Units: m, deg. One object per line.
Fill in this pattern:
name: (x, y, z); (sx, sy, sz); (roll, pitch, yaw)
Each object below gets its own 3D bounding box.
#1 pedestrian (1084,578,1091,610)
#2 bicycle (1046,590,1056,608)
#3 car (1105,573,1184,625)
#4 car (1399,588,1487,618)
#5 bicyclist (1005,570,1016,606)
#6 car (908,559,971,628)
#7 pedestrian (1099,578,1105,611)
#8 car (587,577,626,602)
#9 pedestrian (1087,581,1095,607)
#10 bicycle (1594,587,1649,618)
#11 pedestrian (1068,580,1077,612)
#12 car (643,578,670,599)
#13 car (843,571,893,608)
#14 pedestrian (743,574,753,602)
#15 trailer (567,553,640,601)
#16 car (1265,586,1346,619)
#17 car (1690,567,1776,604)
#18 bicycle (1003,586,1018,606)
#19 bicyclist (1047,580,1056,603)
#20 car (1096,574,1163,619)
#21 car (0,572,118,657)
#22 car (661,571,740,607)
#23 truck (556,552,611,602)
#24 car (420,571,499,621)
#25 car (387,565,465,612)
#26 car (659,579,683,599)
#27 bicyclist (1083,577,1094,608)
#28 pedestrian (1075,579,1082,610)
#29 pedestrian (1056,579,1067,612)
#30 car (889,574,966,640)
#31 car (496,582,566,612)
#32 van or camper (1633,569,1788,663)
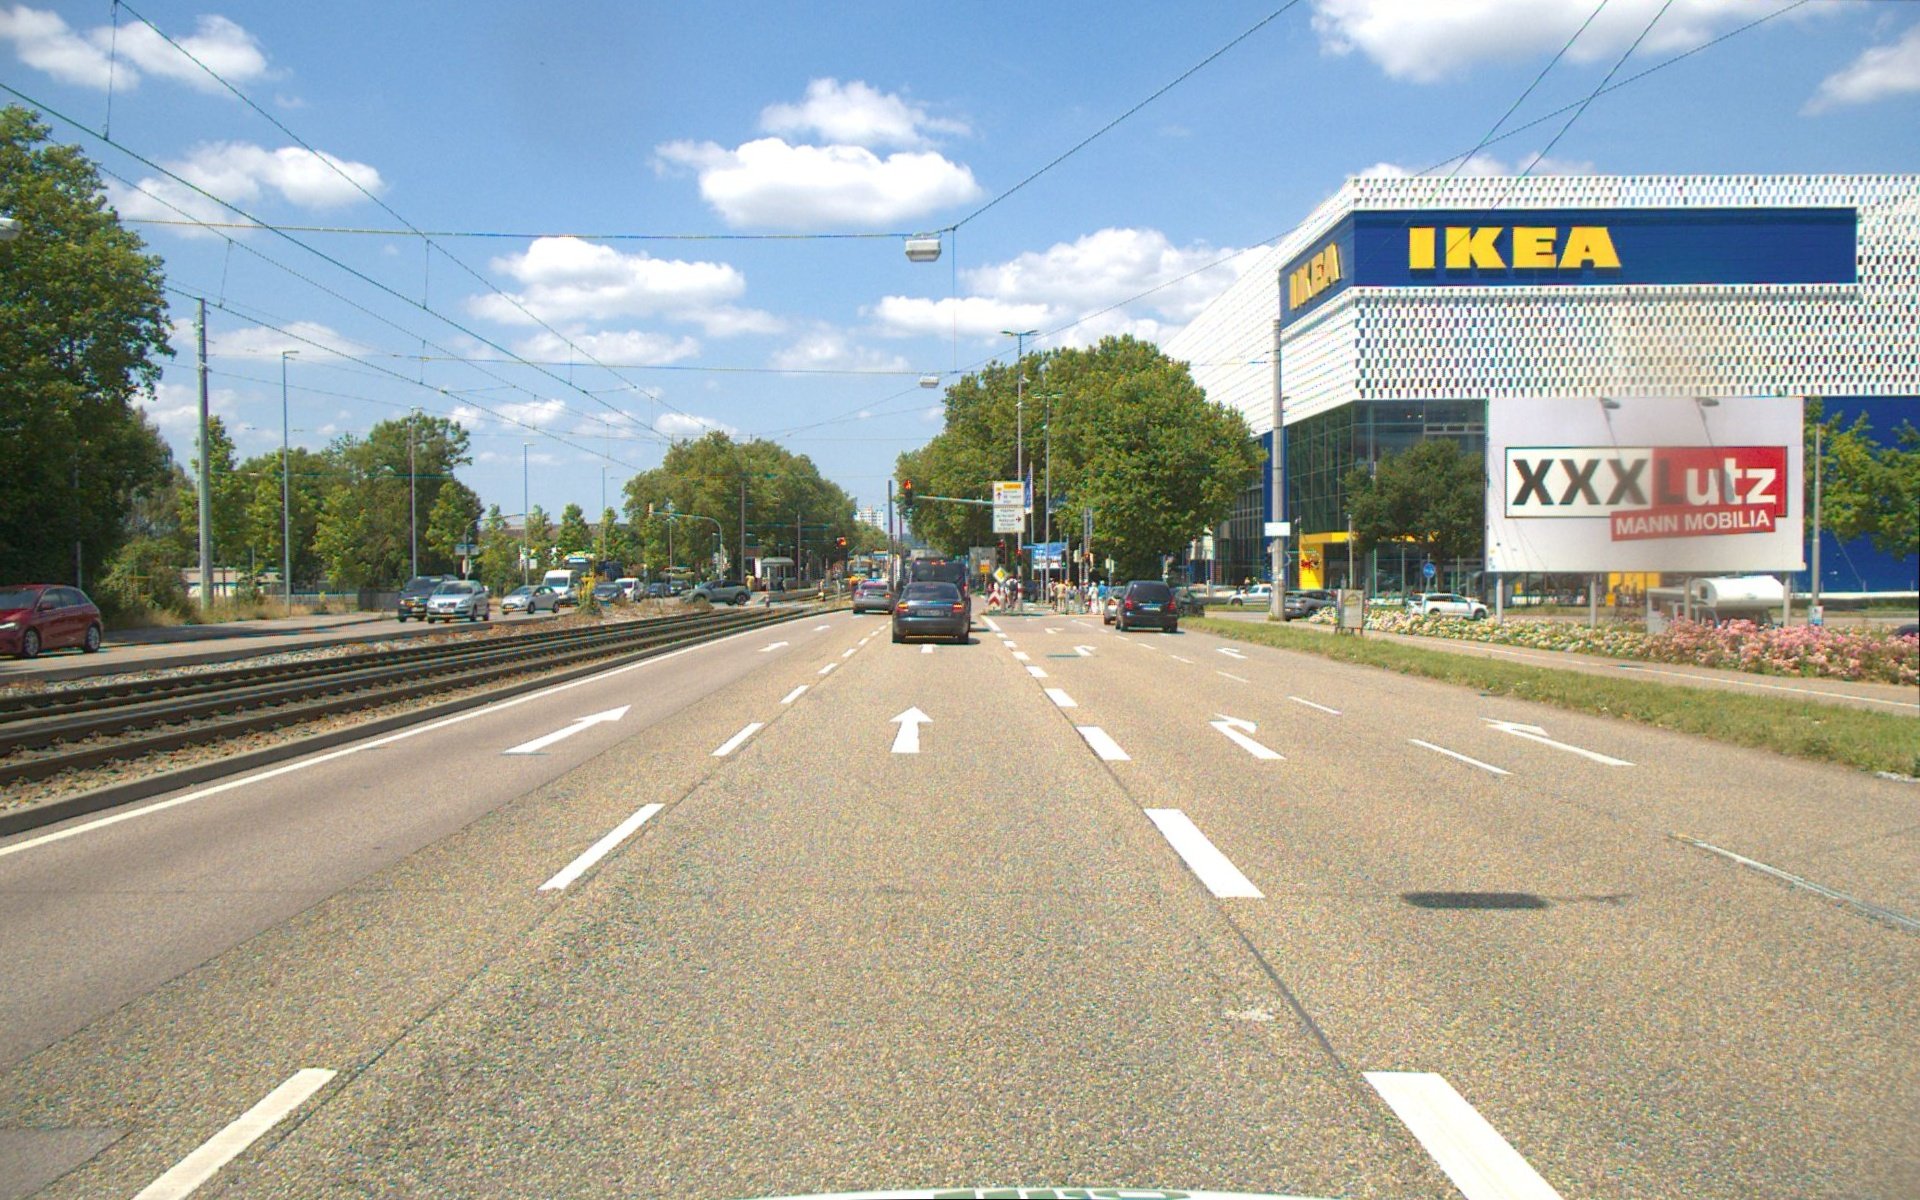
pedestrian: (6.765, -0.308, 87.489); (0.332, 1.663, 0.377); (1, 0, 2)
bicycle: (4.796, -0.061, 87.203); (0.538, 0.892, 1.698); (1, 1, 2)
car: (5.734, -0.053, 51.889); (1.953, 1.512, 4.000); (2, 1, -1)
car: (26.688, 0.170, 91.414); (4.305, 1.512, 1.991); (2, 1, -17)
bicyclist: (2.610, -0.612, 85.464); (0.518, 1.820, 1.088); (0, 0, 0)
car: (-0.630, -0.236, 49.456); (1.799, 1.984, 4.000); (0, 1, -1)
pedestrian: (7.329, -0.294, 85.375); (0.314, 1.663, 0.377); (1, 0, 2)
car: (-24.841, -0.773, 116.217); (1.785, 1.699, 4.461); (2, 1, -1)
pedestrian: (6.781, -0.317, 85.387); (0.365, 1.326, 0.365); (1, 0, 2)
bicycle: (33.774, 0.130, 84.479); (2.372, 1.507, 0.989); (1, 0, 4)
pedestrian: (5.813, -0.211, 85.336); (0.435, 1.663, 0.430); (1, 0, 2)
car: (-28.288, -1.070, 154.359); (1.781, 1.916, 3.999); (1, 0, -1)
car: (-4.019, -0.493, 72.856); (1.953, 1.512, 4.000); (2, 1, -1)
pedestrian: (-15.385, -0.882, 119.963); (0.672, 2.049, 0.572); (0, 0, -5)
trailer: (-28.600, -1.815, 133.588); (2.711, 3.579, 15.875); (1, 1, -1)
car: (17.207, 0.141, 82.316); (4.112, 1.512, 1.969); (1, 1, -43)
car: (50.004, -0.935, 107.038); (4.664, 2.349, 1.999); (1, 0, -2)
bicycle: (2.601, -0.203, 86.098); (0.673, 1.011, 2.751); (1, 1, 0)
bicyclist: (4.852, -0.460, 87.694); (0.461, 1.214, 0.791); (0, 0, 2)
car: (6.169, -0.147, 60.582); (1.953, 1.512, 4.166); (2, 1, -1)
car: (-20.020, 0.283, 35.264); (1.954, 1.699, 4.466); (-2, 1, -2)
car: (-15.432, -0.655, 98.306); (4.333, 1.951, 1.988); (2, 1, -21)
truck: (-28.465, -1.735, 125.336); (2.711, 3.631, 6.439); (1, 0, -1)
car: (-17.676, -0.172, 58.586); (1.651, 1.611, 4.057); (-3, 1, -2)
car: (-22.505, -0.504, 69.885); (1.954, 1.862, 4.966); (-2, 1, -4)
car: (-28.323, -1.124, 162.167); (1.781, 1.916, 3.999); (1, 0, -1)
bicyclist: (7.600, -0.453, 97.728); (0.517, 1.795, 0.828); (0, 0, 13)
pedestrian: (6.269, -0.298, 87.559); (0.373, 1.663, 0.377); (1, 0, 2)
pedestrian: (5.217, -0.246, 85.325); (0.542, 1.663, 0.433); (1, 0, 2)
car: (-0.768, 0.120, 39.854); (1.756, 1.480, 4.000); (-1, 1, -1)
car: (-22.313, -0.169, 86.224); (1.783, 1.440, 3.887); (-2, 1, 15)
van or camper: (26.262, 0.488, 58.217); (2.454, 3.073, 7.226); (1, 1, 3)
